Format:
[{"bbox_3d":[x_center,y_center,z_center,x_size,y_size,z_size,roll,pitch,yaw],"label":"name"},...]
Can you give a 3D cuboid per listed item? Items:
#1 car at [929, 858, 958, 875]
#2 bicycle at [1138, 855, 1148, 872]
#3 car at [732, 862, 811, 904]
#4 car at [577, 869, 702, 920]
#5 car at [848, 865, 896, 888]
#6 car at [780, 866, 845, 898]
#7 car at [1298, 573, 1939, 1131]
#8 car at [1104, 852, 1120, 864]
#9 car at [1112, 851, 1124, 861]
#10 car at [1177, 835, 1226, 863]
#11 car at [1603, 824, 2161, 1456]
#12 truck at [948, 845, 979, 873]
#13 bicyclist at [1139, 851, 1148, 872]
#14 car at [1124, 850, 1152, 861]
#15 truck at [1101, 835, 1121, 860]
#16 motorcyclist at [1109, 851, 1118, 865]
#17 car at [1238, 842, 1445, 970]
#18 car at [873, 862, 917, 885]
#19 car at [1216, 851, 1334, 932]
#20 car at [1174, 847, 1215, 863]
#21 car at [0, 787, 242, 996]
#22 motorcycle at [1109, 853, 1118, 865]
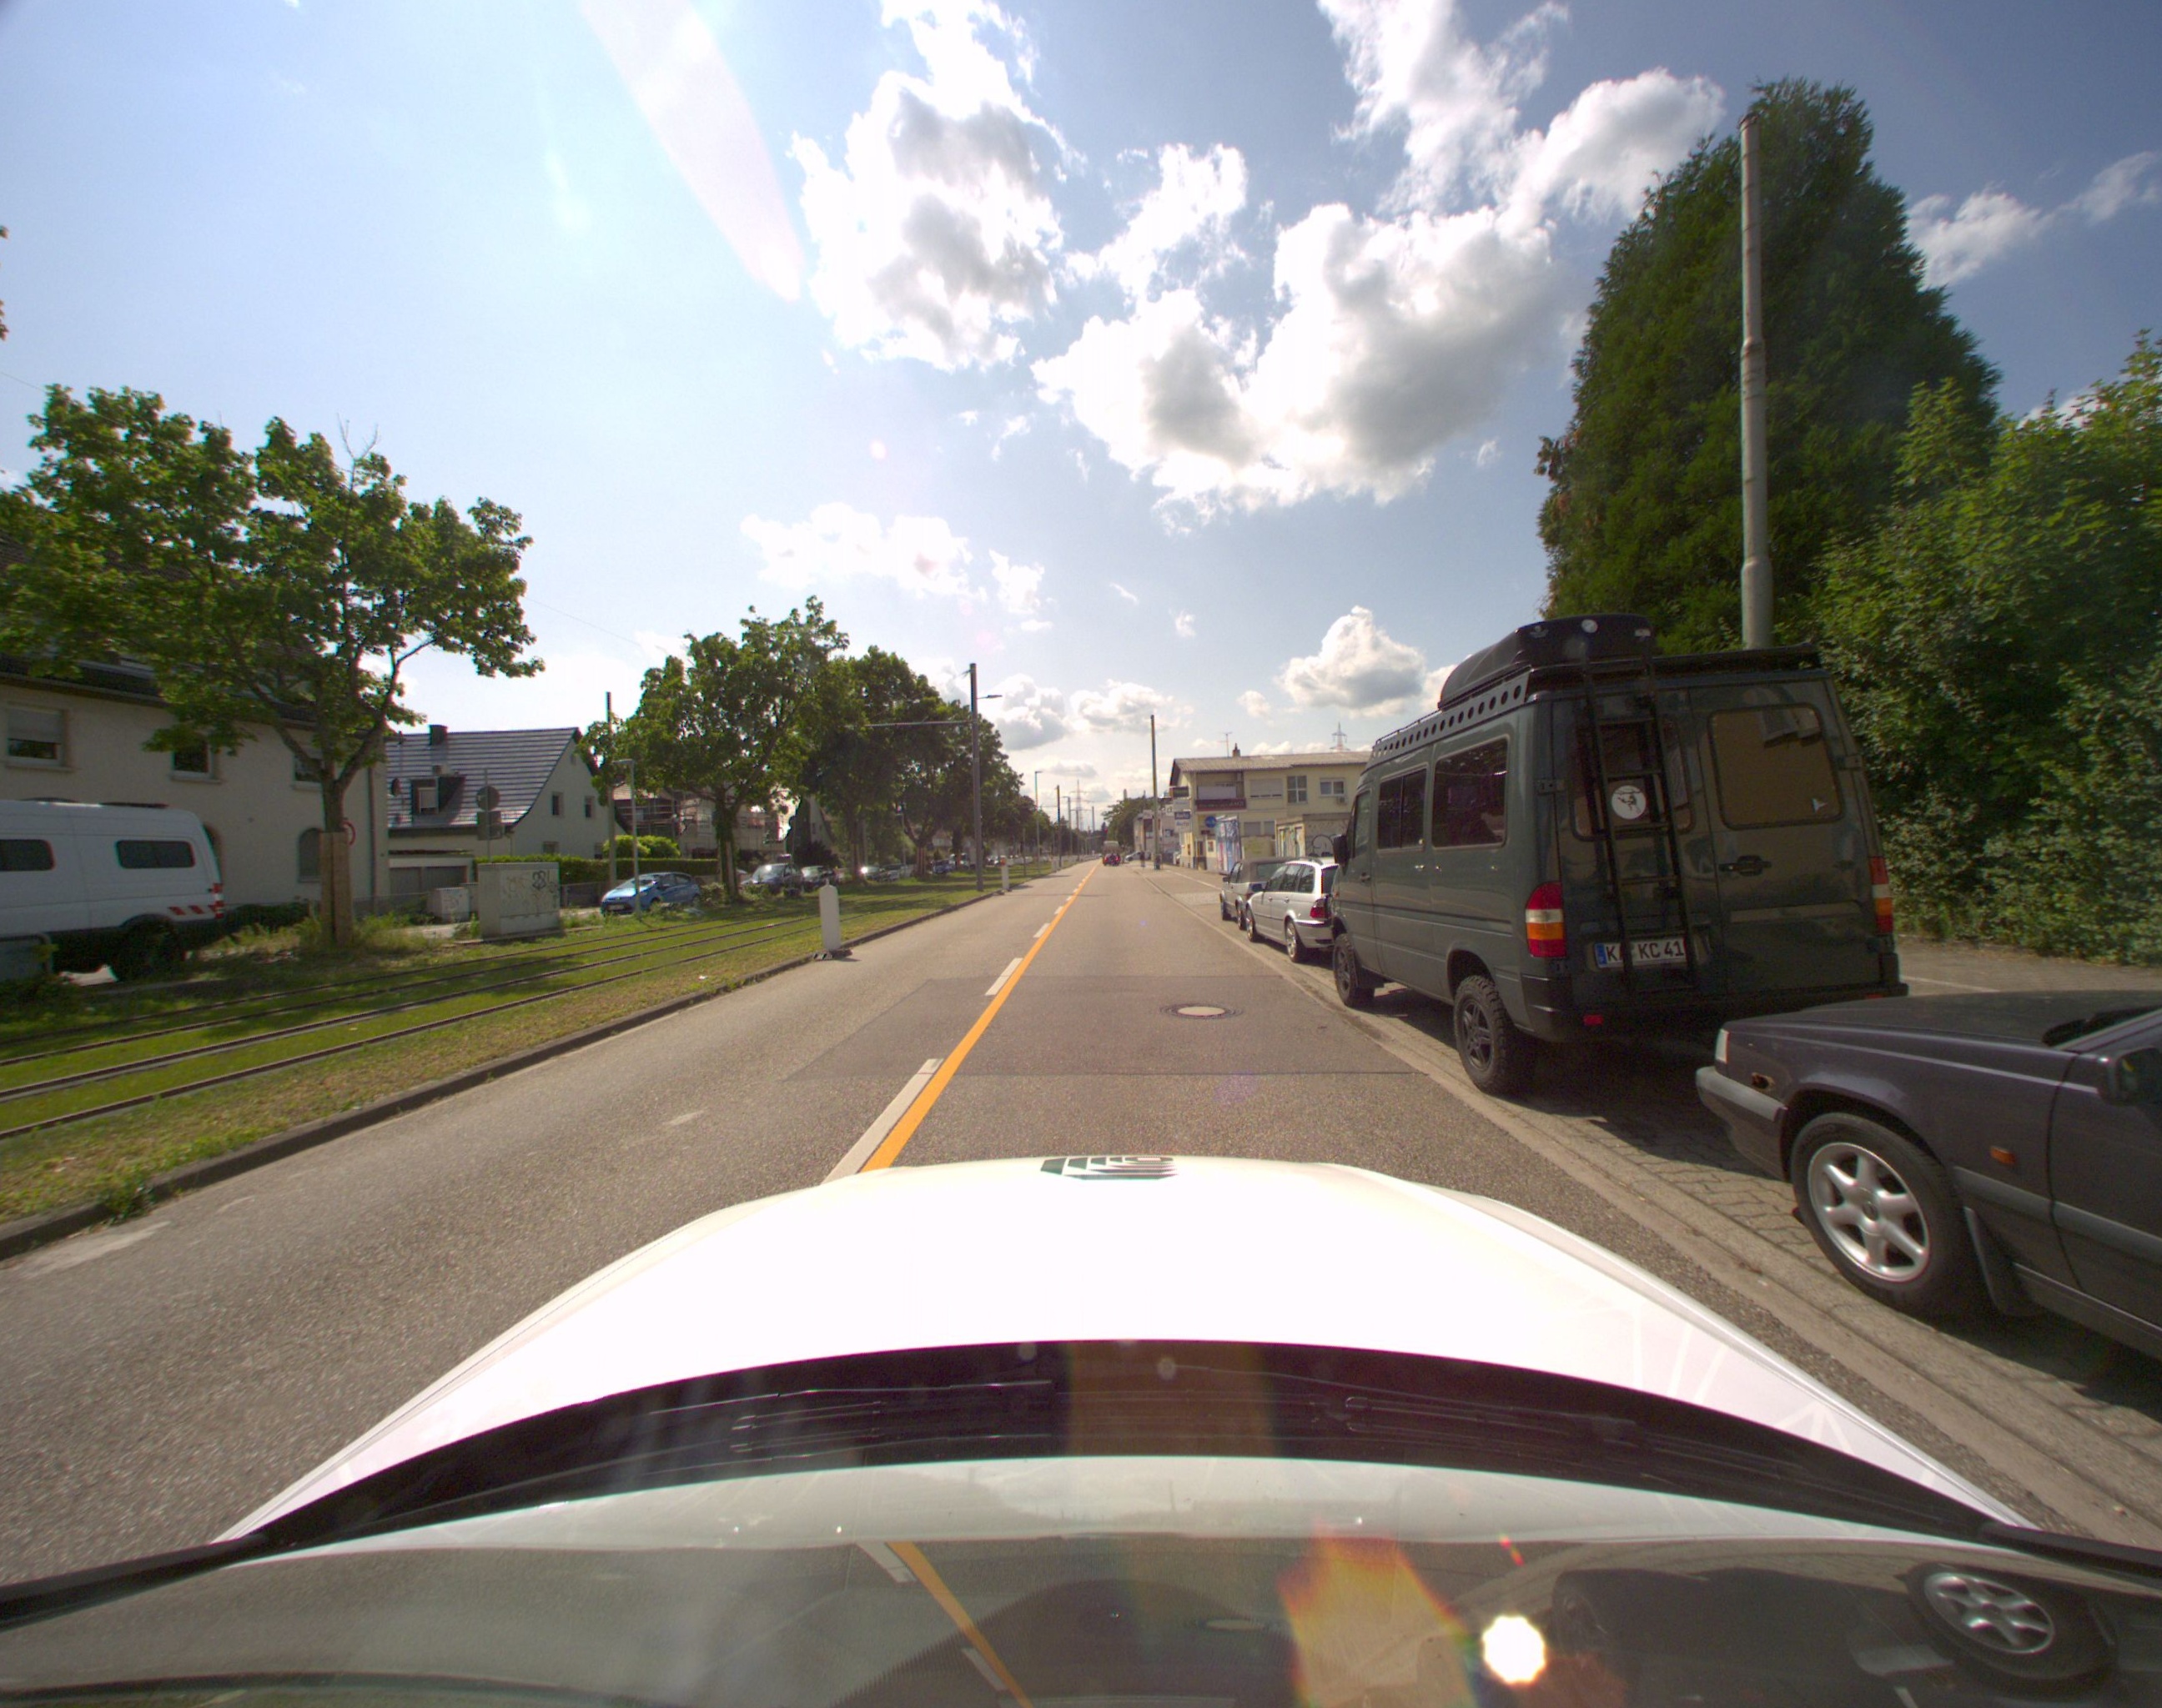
[{"bbox_3d":[-13.031,1.138,77.171,1.987,1.453,3.999,-3,-1,0],"label":"car"},{"bbox_3d":[5.371,0.805,70.715,0.690,1.361,2.419,-3,0,2],"label":"bicycle"},{"bbox_3d":[-14.277,1.298,37.815,1.988,1.691,4.389,-3,-1,-1],"label":"car"},{"bbox_3d":[-14.552,1.299,27.108,1.746,1.436,3.893,-3,-1,4],"label":"car"},{"bbox_3d":[-13.816,1.453,53.998,1.986,1.317,3.854,-5,-1,2],"label":"car"},{"bbox_3d":[-14.377,1.470,43.810,1.986,1.439,4.001,-4,-1,1],"label":"car"},{"bbox_3d":[3.410,-0.004,6.639,1.988,2.760,4.881,-4,0,2],"label":"car"},{"bbox_3d":[3.811,0.521,100.435,1.815,1.424,4.002,-2,0,2],"label":"car"},{"bbox_3d":[5.943,0.256,129.601,1.814,1.464,4.003,-2,0,2],"label":"car"},{"bbox_3d":[11.989,-0.476,81.111,4.517,2.573,2.153,-3,-1,3],"label":"car"},{"bbox_3d":[3.291,0.636,1.430,1.714,1.402,4.839,-4,0,2],"label":"car"},{"bbox_3d":[-12.692,0.507,88.161,1.986,2.767,6.279,-5,0,2],"label":"truck"},{"bbox_3d":[5.413,0.629,70.613,0.669,1.744,0.814,-2,0,1],"label":"bicyclist"},{"bbox_3d":[9.604,0.221,137.783,4.325,1.551,1.945,-3,-1,-7],"label":"car"},{"bbox_3d":[4.326,-0.949,116.538,2.600,3.255,9.189,-3,1,3],"label":"truck"},{"bbox_3d":[3.818,0.423,95.776,0.936,1.615,1.205,0,0,2],"label":"motorcyclist"},{"bbox_3d":[3.707,0.675,12.455,1.686,1.516,4.354,-3,-1,0],"label":"car"},{"bbox_3d":[-13.577,1.420,59.650,1.798,1.482,4.942,-3,-1,2],"label":"car"},{"bbox_3d":[3.949,0.713,17.234,1.645,1.431,4.099,-3,-1,3],"label":"car"},{"bbox_3d":[11.691,0.096,83.845,4.159,1.431,1.825,-3,-1,8],"label":"car"},{"bbox_3d":[-15.114,0.543,10.391,1.987,2.730,6.462,-3,0,0],"label":"car"},{"bbox_3d":[3.822,0.577,95.956,0.936,1.320,2.646,0,0,2],"label":"motorcycle"}]
